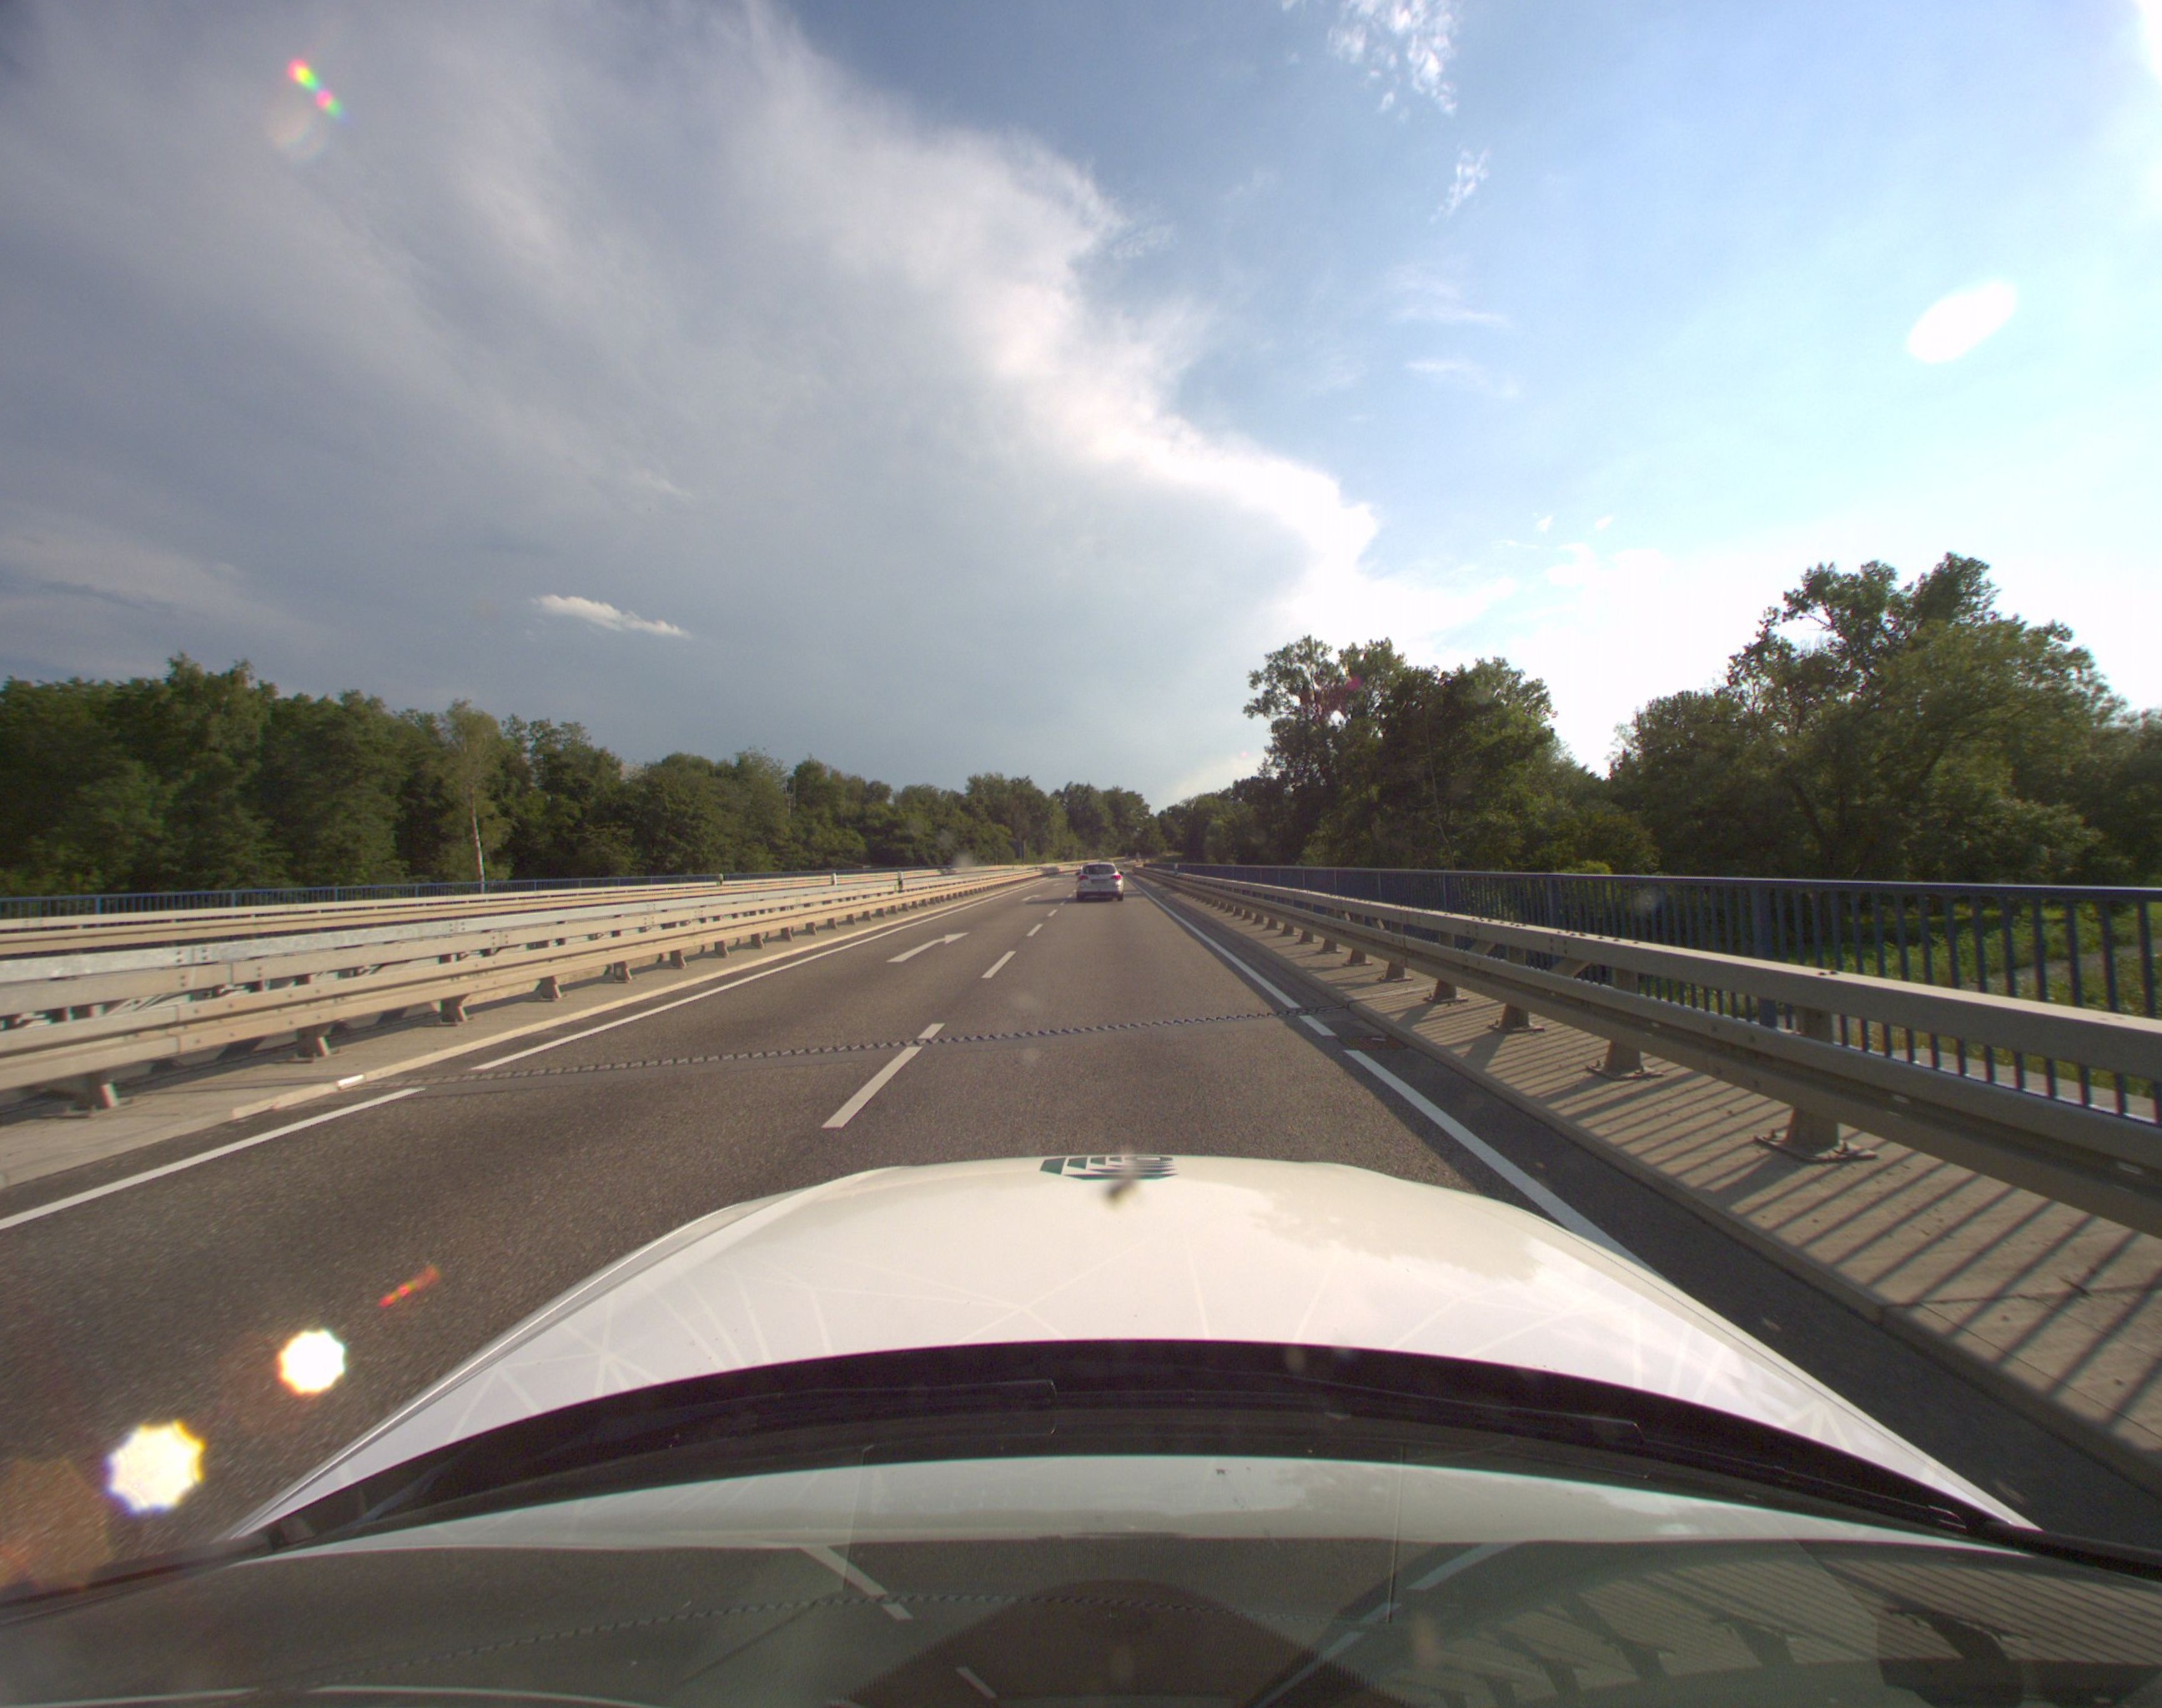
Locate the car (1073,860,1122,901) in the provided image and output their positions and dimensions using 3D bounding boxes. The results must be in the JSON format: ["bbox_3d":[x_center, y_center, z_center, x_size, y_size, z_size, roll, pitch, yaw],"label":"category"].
[{"bbox_3d":[0.656,1.016,31.987,1.803,1.486,4.000,-1,-1,1],"label":"car"}]

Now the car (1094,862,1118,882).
[{"bbox_3d":[1.911,1.360,62.663,1.803,1.486,4.000,-1,-1,1],"label":"car"}]

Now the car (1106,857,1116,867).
[{"bbox_3d":[6.174,1.740,167.293,1.986,2.014,4.002,-1,-1,2],"label":"car"}]
